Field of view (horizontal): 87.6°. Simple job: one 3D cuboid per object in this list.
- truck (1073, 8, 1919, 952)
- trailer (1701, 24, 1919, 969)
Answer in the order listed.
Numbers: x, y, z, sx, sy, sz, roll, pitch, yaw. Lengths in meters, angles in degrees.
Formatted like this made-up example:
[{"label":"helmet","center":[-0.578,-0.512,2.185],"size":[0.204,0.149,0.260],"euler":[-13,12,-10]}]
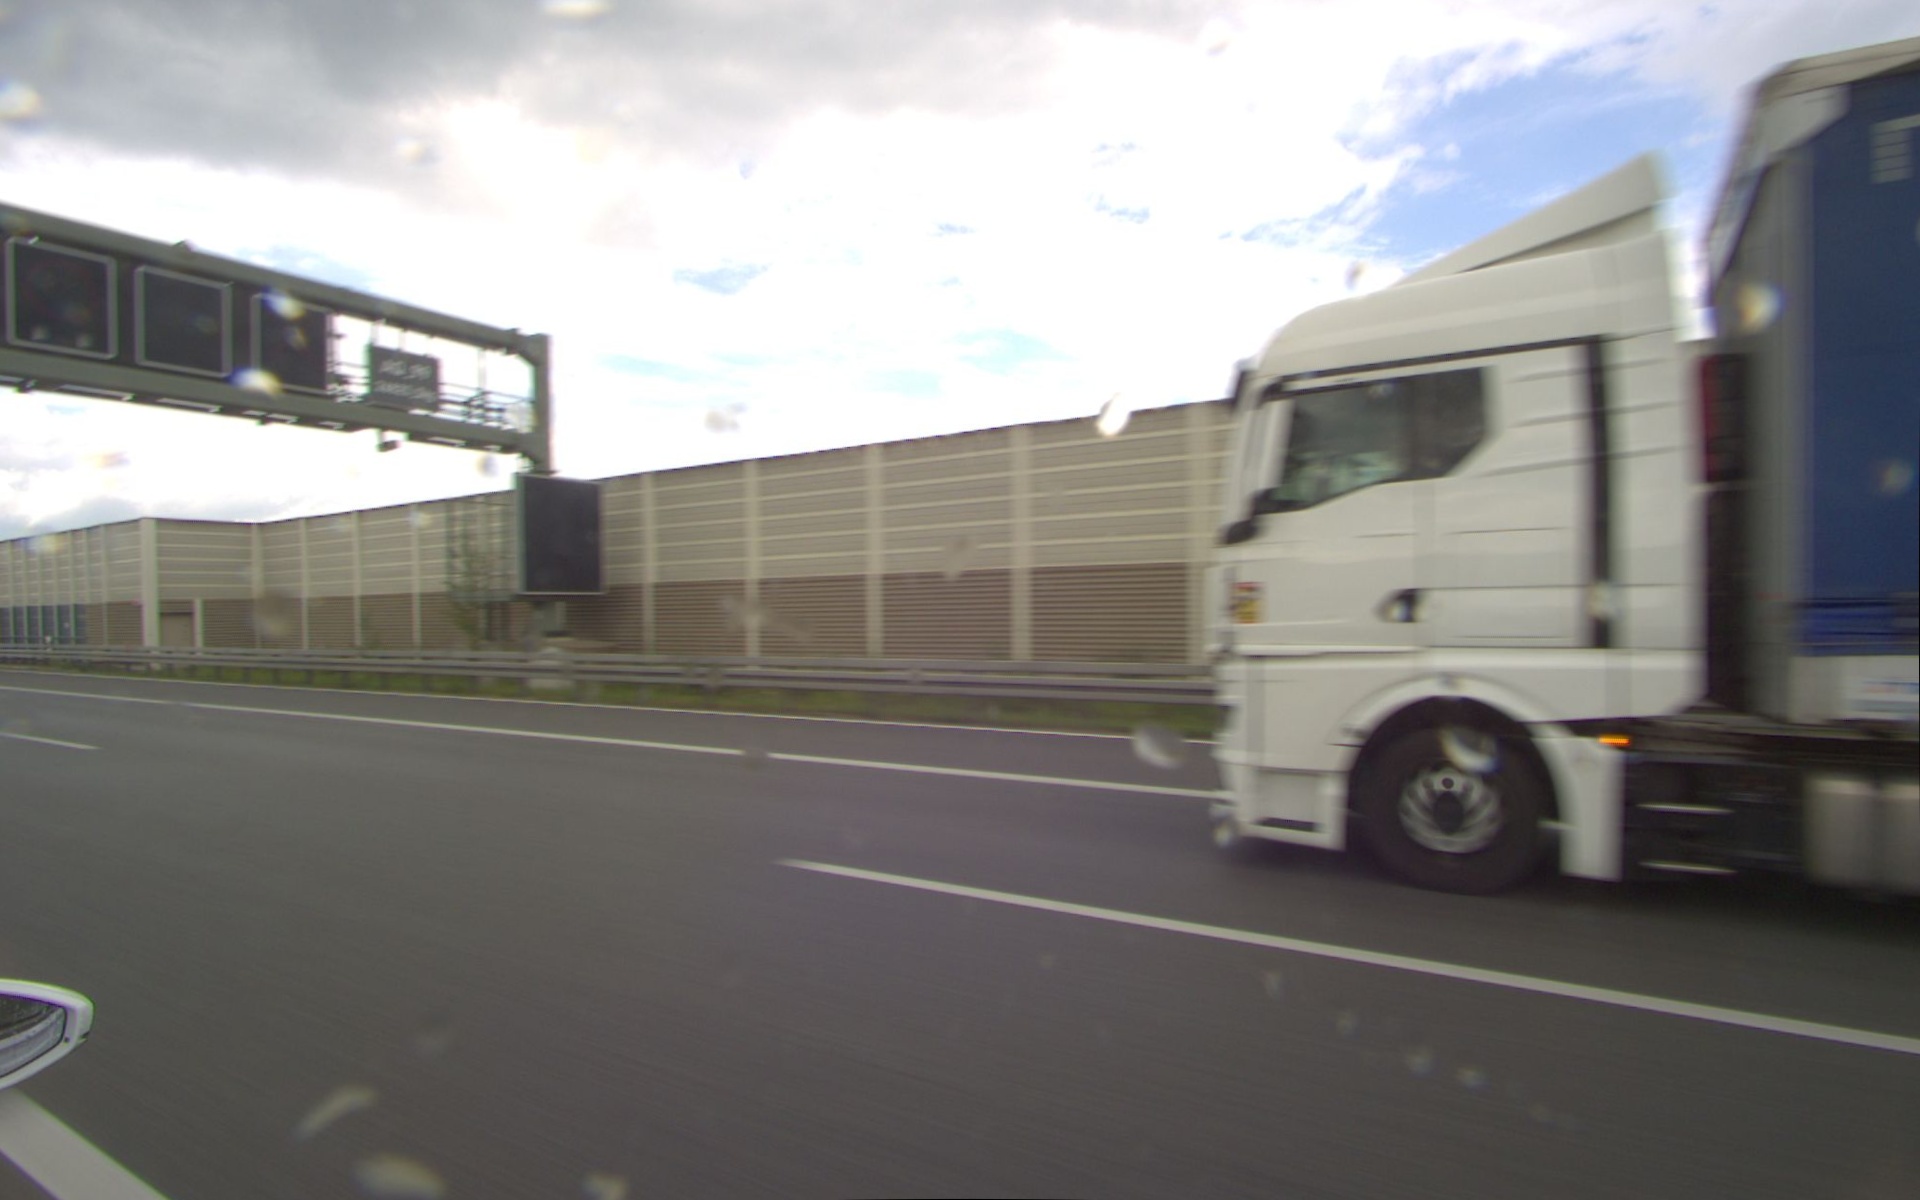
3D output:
[{"label":"truck","center":[3.831,-0.484,6.139],"size":[5.642,4.087,2.740],"euler":[0,-1,31]},{"label":"trailer","center":[10.505,-0.485,2.030],"size":[14.242,4.084,2.757],"euler":[-1,-1,32]}]
